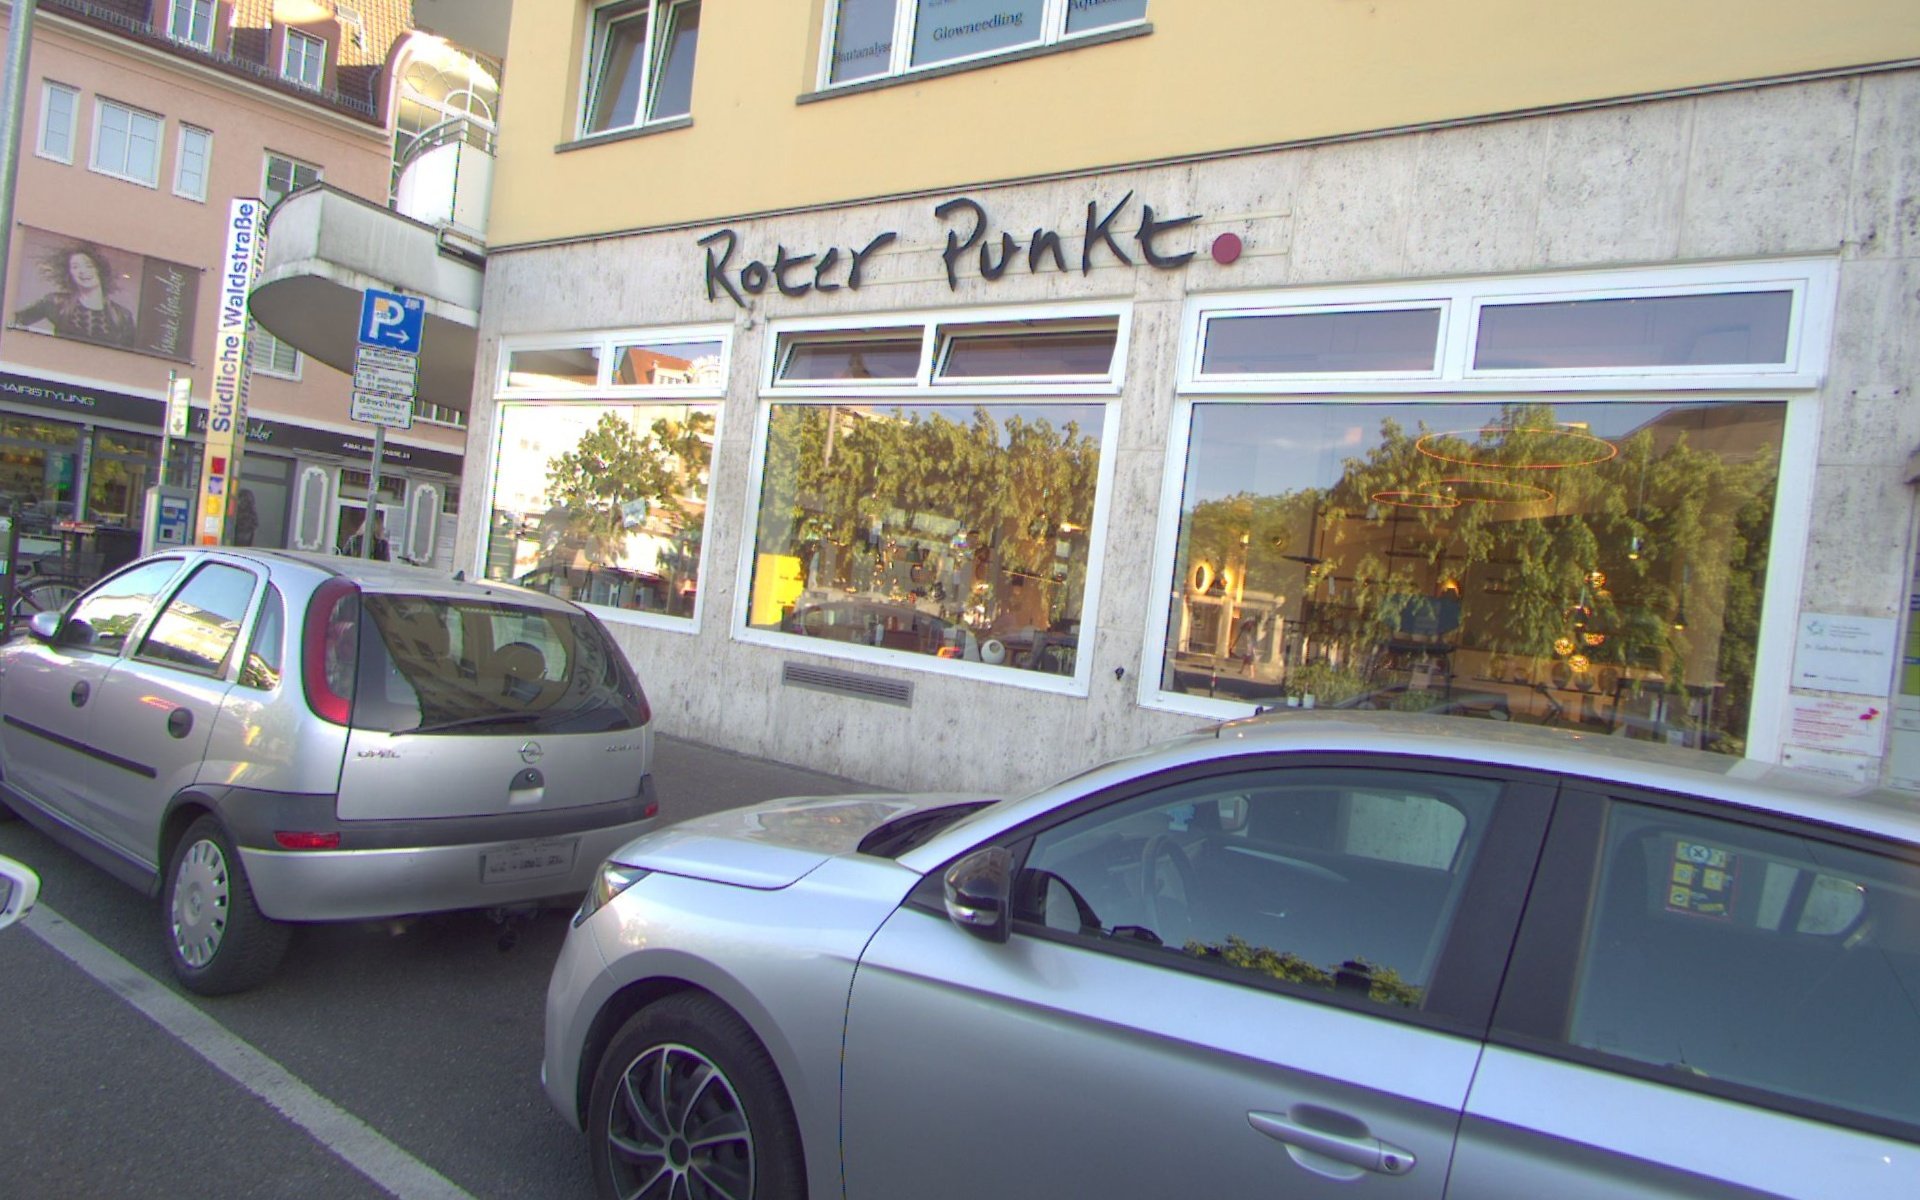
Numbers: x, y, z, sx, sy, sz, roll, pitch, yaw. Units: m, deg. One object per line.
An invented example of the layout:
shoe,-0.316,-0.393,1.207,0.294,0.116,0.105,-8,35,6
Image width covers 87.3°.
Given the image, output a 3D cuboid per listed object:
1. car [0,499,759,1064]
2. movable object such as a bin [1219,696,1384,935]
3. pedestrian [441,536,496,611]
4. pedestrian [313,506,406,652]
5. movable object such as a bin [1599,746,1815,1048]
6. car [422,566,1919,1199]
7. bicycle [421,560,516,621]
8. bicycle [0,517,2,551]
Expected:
car,-2.924,0.438,4.434,3.822,1.411,1.624,7,-1,33
movable object such as a bin,1.869,1.122,5.476,0.609,1.082,0.703,7,3,31
pedestrian,-10.385,-0.555,21.251,0.575,1.457,0.741,6,-1,44
pedestrian,-7.231,-0.247,12.136,0.652,1.654,0.627,5,2,-2
movable object such as a bin,3.335,1.281,4.563,0.609,1.082,0.703,7,3,31
car,0.940,0.910,2.182,4.006,1.444,1.674,7,-1,28
bicycle,-10.389,-0.193,21.297,0.583,1.057,1.612,6,-2,44
bicycle,-9.306,-0.221,8.518,0.425,1.175,1.629,7,1,30
